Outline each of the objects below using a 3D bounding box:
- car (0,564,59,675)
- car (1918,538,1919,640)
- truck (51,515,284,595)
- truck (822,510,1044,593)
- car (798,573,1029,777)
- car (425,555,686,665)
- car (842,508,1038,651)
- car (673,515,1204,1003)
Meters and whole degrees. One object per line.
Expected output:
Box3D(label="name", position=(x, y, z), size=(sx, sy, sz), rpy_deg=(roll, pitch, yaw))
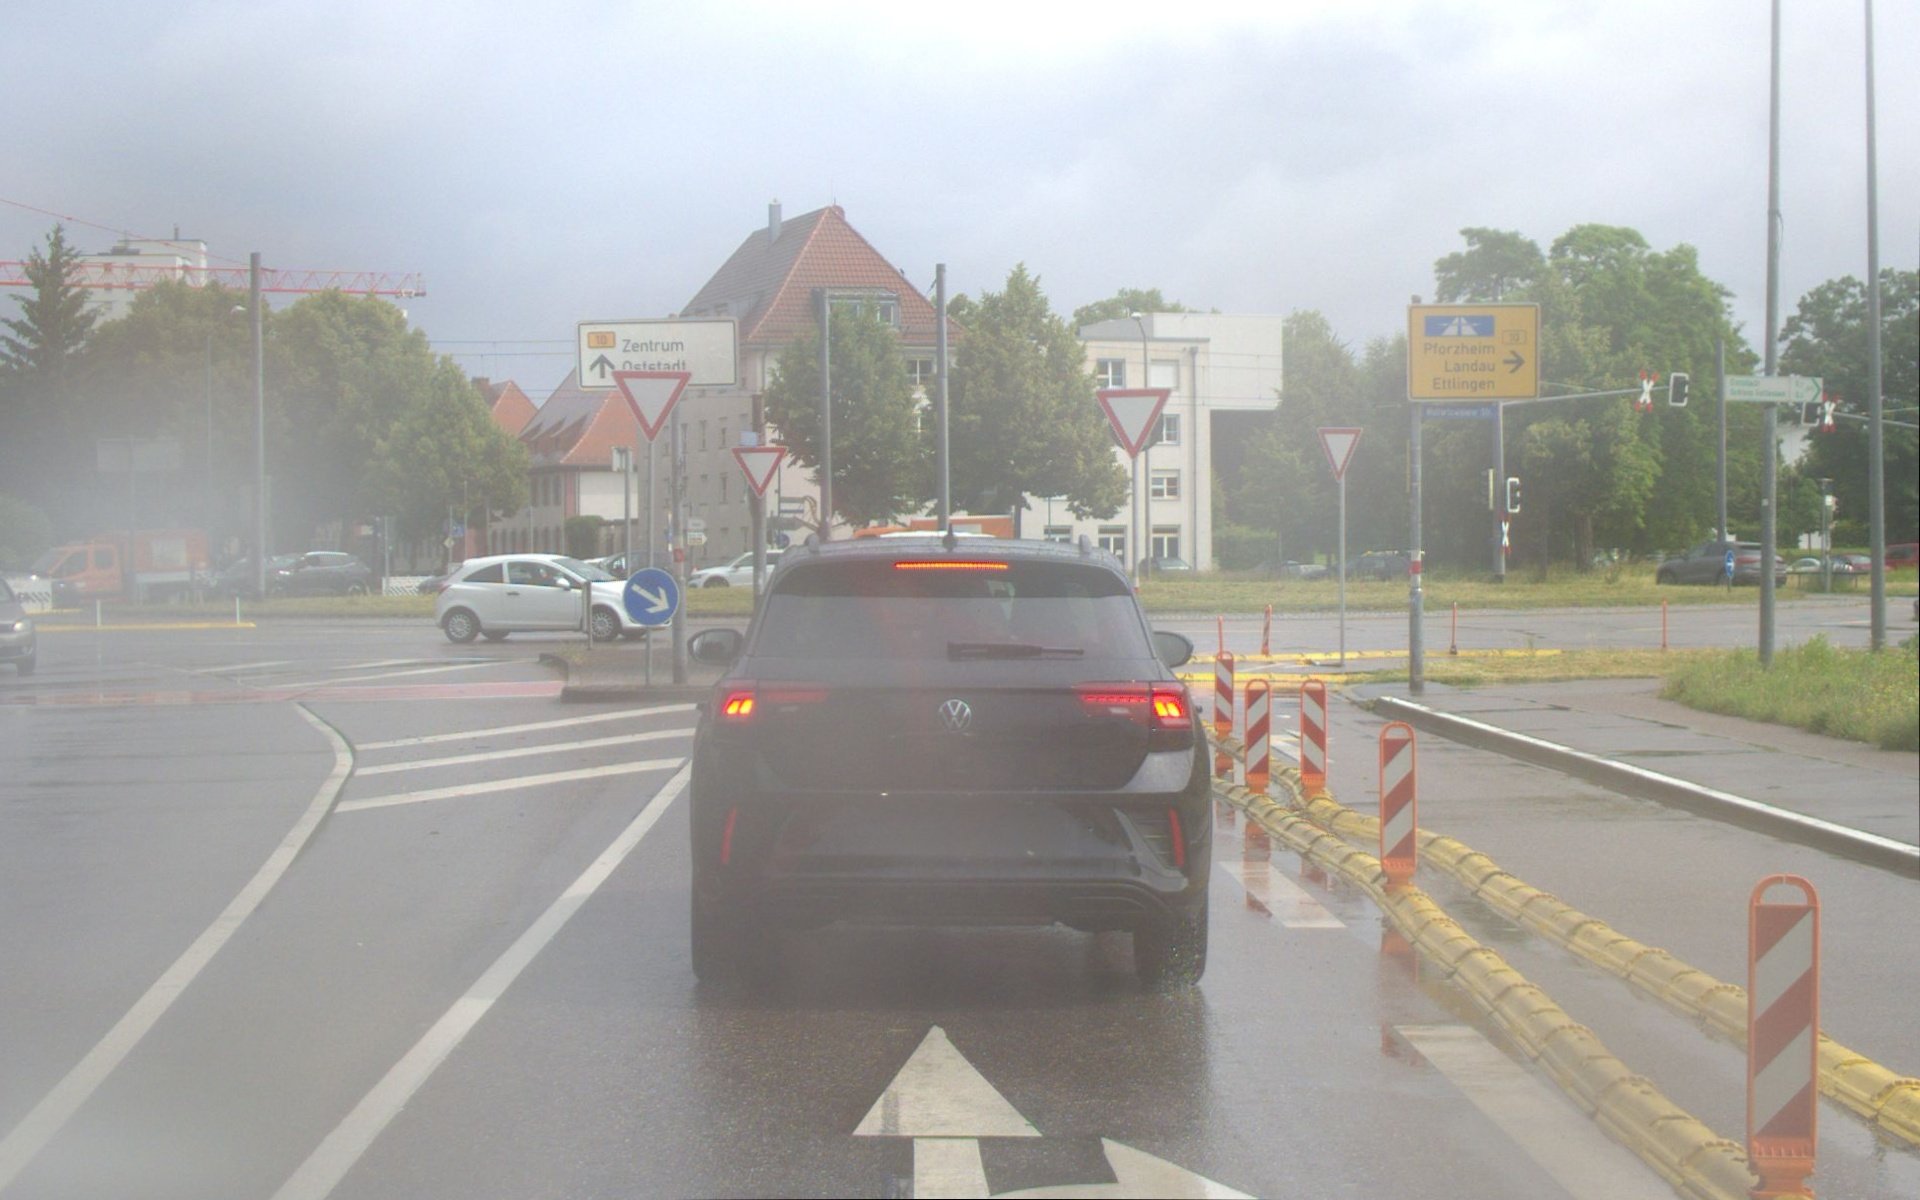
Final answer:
Box3D(label="car", position=(-15.062, 0.328, 51.142), size=(1.781, 1.546, 4.425), rpy_deg=(-4, 1, -34))
Box3D(label="car", position=(17.535, -0.174, 55.469), size=(3.945, 1.639, 1.669), rpy_deg=(0, 1, 18))
Box3D(label="truck", position=(-24.996, -1.450, 108.577), size=(6.703, 2.434, 2.434), rpy_deg=(-1, 1, -35))
Box3D(label="truck", position=(-0.866, -1.559, 110.804), size=(7.066, 2.641, 2.330), rpy_deg=(0, 1, -1))
Box3D(label="car", position=(-0.437, 0.554, 27.760), size=(1.735, 1.509, 3.604), rpy_deg=(0, 1, -3))
Box3D(label="car", position=(-6.825, 0.158, 58.242), size=(3.988, 1.824, 1.999), rpy_deg=(0, 1, 9))
Box3D(label="car", position=(-0.204, -0.293, 45.482), size=(1.865, 1.803, 4.402), rpy_deg=(0, 1, 10))
Box3D(label="car", position=(-0.191, 0.502, 12.979), size=(1.708, 1.568, 3.683), rpy_deg=(1, 0, -4))
